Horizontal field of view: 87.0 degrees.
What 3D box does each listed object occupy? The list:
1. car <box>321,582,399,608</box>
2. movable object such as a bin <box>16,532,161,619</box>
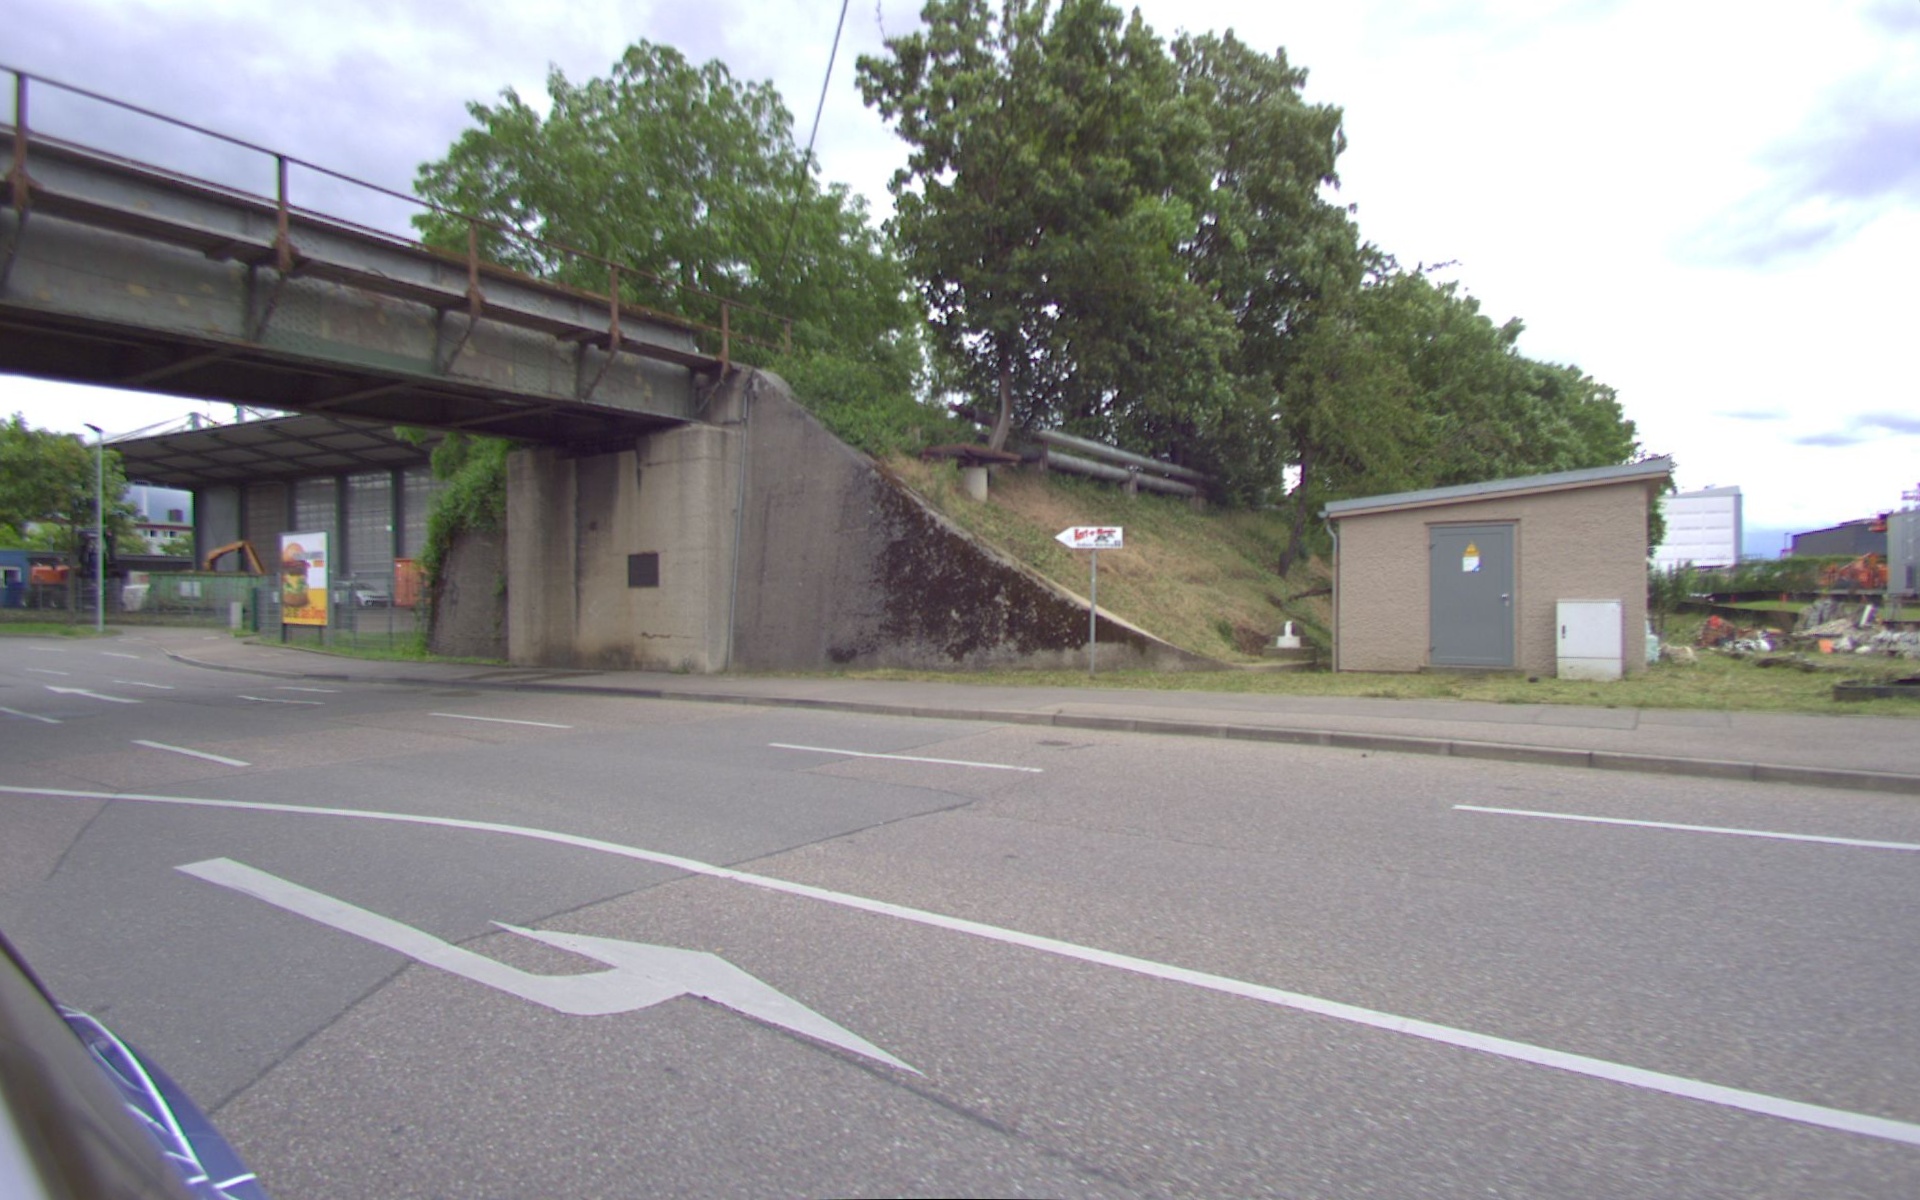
[{"bbox_3d":[-32.232,-0.256,54.364,3.979,1.384,1.722,0,0,27],"label":"car"},{"bbox_3d":[-44.110,-1.143,51.251,6.501,4.122,2.716,-1,-1,19],"label":"movable object such as a bin"}]
